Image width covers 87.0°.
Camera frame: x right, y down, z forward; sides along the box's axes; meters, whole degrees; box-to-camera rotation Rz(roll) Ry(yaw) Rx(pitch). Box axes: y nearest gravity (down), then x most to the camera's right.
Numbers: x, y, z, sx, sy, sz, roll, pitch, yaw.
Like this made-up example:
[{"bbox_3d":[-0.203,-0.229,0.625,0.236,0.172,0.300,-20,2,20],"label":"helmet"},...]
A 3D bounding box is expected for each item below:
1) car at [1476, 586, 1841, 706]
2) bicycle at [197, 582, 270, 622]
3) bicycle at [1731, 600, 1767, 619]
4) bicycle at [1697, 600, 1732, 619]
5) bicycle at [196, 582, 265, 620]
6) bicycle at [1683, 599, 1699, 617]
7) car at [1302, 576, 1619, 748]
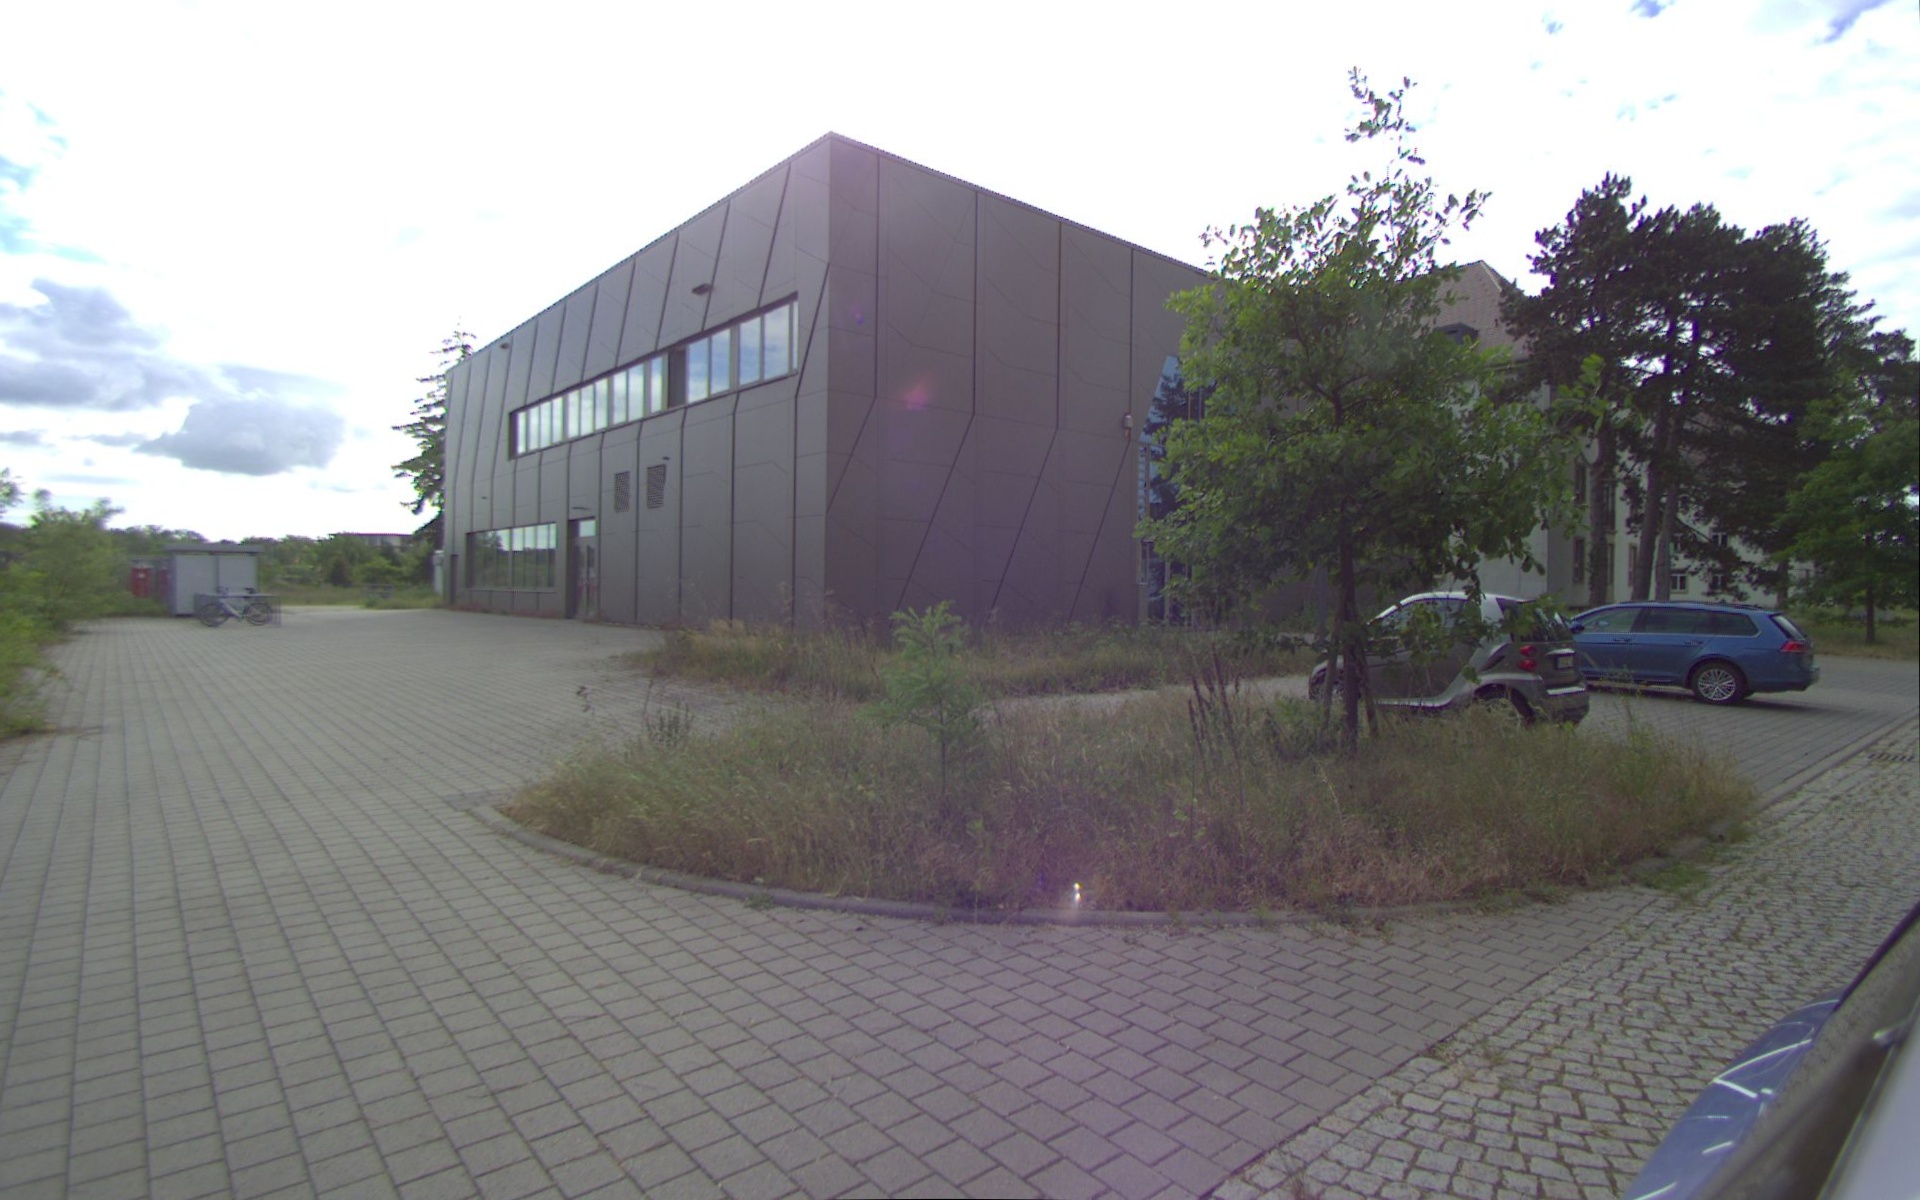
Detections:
[{"bbox_3d":[10.967,0.610,16.173,1.799,1.493,4.497,0,2,-43],"label":"car"},{"bbox_3d":[-20.387,0.060,28.424,1.624,1.099,0.512,0,0,-32],"label":"bicycle"},{"bbox_3d":[47.767,0.581,61.251,0.604,1.099,1.653,0,0,-44],"label":"bicycle"},{"bbox_3d":[46.565,0.569,62.456,0.603,1.099,1.655,0,0,-38],"label":"bicycle"},{"bbox_3d":[-21.772,0.032,30.227,1.624,1.099,0.512,0,0,-32],"label":"bicycle"},{"bbox_3d":[46.760,0.498,64.715,1.628,1.142,0.476,0,0,-42],"label":"bicycle"},{"bbox_3d":[5.541,0.581,11.385,1.623,1.575,2.718,0,3,-38],"label":"car"}]
